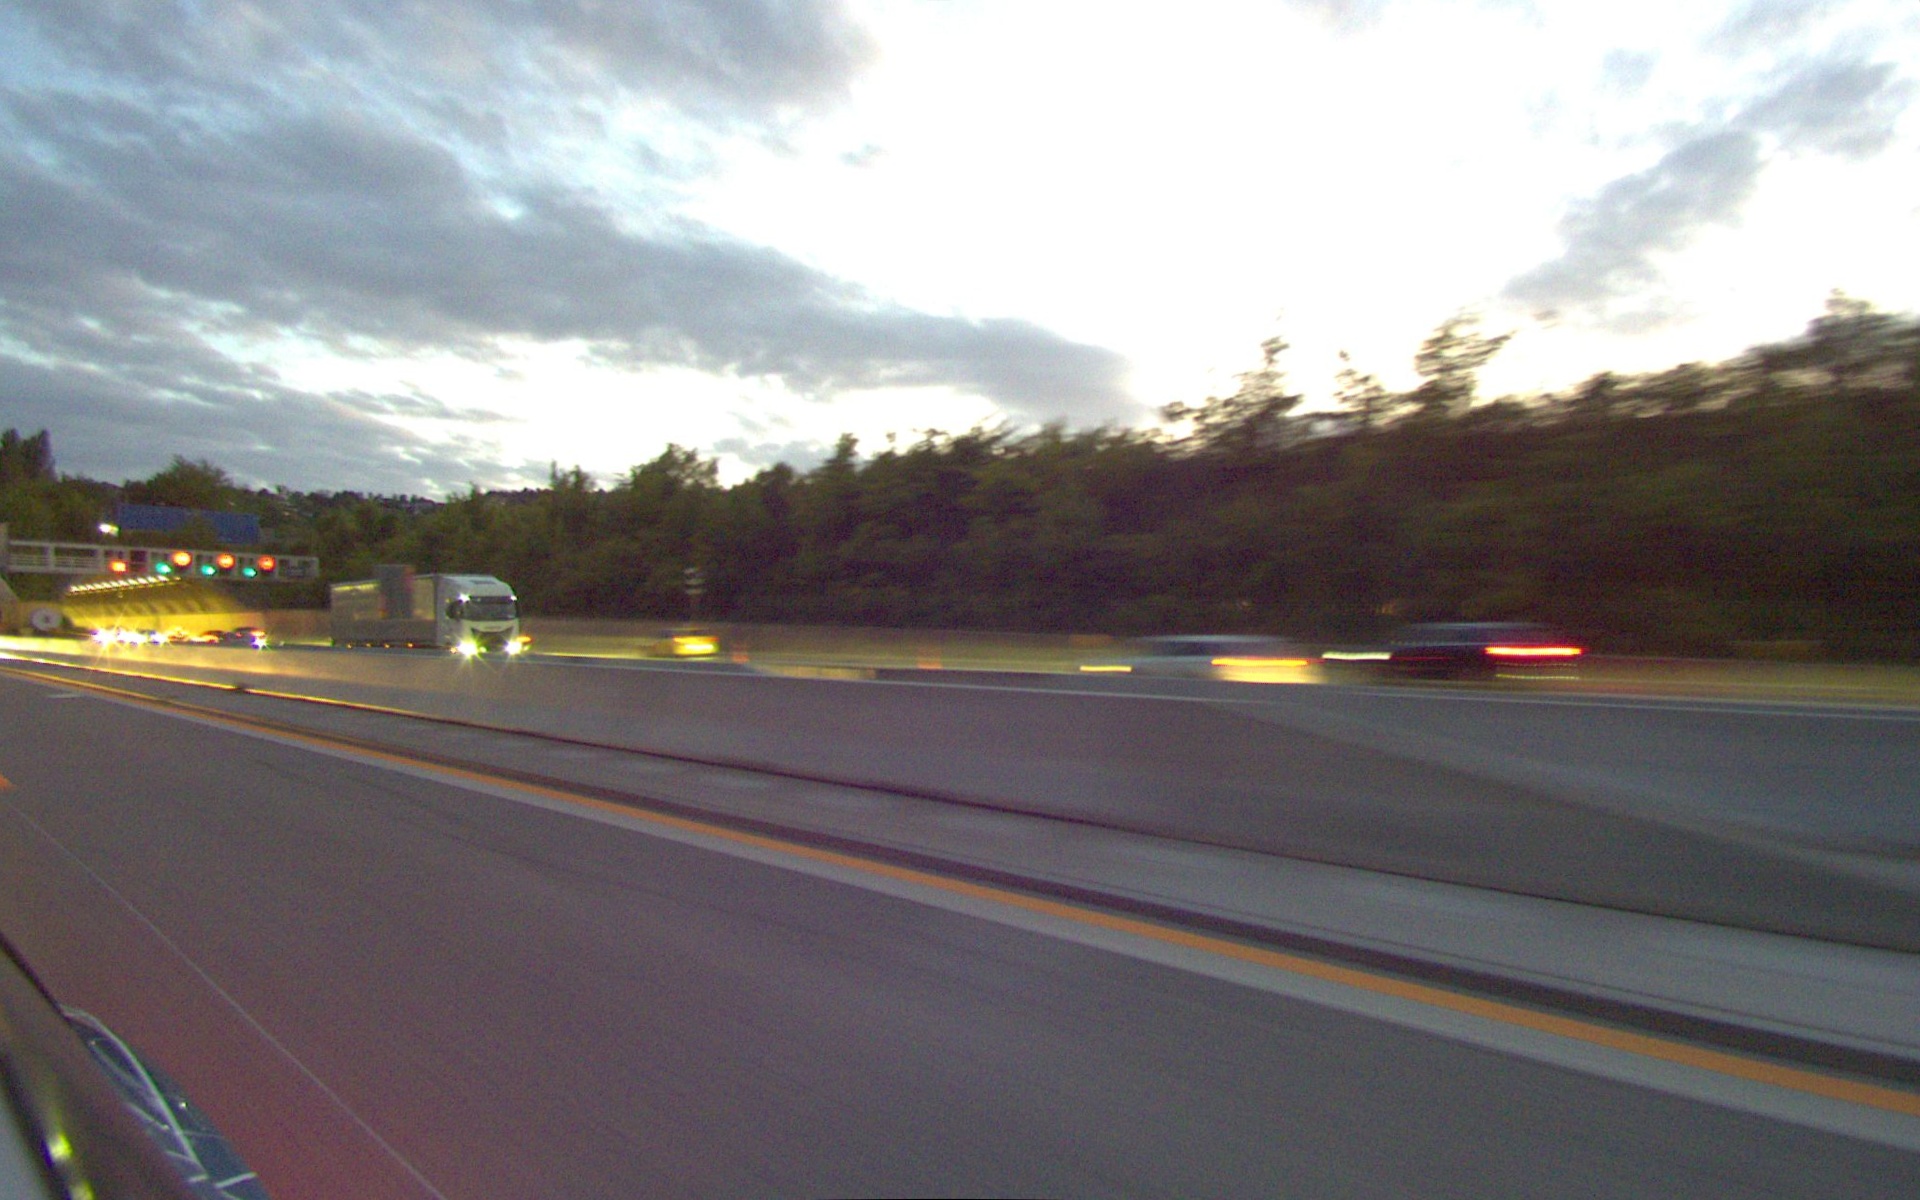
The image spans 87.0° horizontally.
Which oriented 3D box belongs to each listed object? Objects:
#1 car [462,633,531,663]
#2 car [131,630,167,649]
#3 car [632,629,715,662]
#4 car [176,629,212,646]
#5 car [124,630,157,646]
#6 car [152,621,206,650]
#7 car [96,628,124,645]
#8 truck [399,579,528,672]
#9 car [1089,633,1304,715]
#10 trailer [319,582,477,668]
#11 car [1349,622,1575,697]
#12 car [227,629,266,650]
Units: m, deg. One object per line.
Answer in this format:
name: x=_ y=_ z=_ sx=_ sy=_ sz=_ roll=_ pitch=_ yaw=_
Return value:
car: x=-26.241 y=2.681 z=57.233 sx=4.700 sy=1.496 sz=1.791 roll=-1 pitch=0 yaw=42
car: x=-69.345 y=3.397 z=86.558 sx=3.999 sy=1.492 sz=1.768 roll=-1 pitch=0 yaw=42
car: x=-14.345 y=2.242 z=50.546 sx=4.700 sy=1.496 sz=1.806 roll=-1 pitch=0 yaw=42
car: x=-68.996 y=3.355 z=91.163 sx=4.669 sy=1.465 sz=1.732 roll=-1 pitch=0 yaw=42
car: x=-85.291 y=3.946 z=105.307 sx=4.873 sy=1.600 sz=1.788 roll=-1 pitch=0 yaw=40
car: x=-53.946 y=2.407 z=69.866 sx=4.699 sy=1.898 sz=2.068 roll=-1 pitch=0 yaw=42
car: x=-80.161 y=3.448 z=95.439 sx=3.823 sy=1.492 sz=1.490 roll=-1 pitch=0 yaw=42
truck: x=-21.977 y=1.063 z=44.661 sx=6.298 sy=3.803 sz=2.774 roll=-1 pitch=0 yaw=40
car: x=5.504 y=1.661 z=23.972 sx=4.751 sy=1.650 sz=1.661 roll=-1 pitch=0 yaw=43
trailer: x=-27.821 y=1.152 z=49.718 sx=11.827 sy=3.811 sz=2.770 roll=-1 pitch=0 yaw=40
car: x=12.440 y=1.402 z=25.281 sx=4.751 sy=1.650 sz=1.785 roll=-1 pitch=0 yaw=43
car: x=-64.785 y=3.581 z=91.908 sx=4.666 sy=1.735 sz=1.733 roll=-1 pitch=0 yaw=40
